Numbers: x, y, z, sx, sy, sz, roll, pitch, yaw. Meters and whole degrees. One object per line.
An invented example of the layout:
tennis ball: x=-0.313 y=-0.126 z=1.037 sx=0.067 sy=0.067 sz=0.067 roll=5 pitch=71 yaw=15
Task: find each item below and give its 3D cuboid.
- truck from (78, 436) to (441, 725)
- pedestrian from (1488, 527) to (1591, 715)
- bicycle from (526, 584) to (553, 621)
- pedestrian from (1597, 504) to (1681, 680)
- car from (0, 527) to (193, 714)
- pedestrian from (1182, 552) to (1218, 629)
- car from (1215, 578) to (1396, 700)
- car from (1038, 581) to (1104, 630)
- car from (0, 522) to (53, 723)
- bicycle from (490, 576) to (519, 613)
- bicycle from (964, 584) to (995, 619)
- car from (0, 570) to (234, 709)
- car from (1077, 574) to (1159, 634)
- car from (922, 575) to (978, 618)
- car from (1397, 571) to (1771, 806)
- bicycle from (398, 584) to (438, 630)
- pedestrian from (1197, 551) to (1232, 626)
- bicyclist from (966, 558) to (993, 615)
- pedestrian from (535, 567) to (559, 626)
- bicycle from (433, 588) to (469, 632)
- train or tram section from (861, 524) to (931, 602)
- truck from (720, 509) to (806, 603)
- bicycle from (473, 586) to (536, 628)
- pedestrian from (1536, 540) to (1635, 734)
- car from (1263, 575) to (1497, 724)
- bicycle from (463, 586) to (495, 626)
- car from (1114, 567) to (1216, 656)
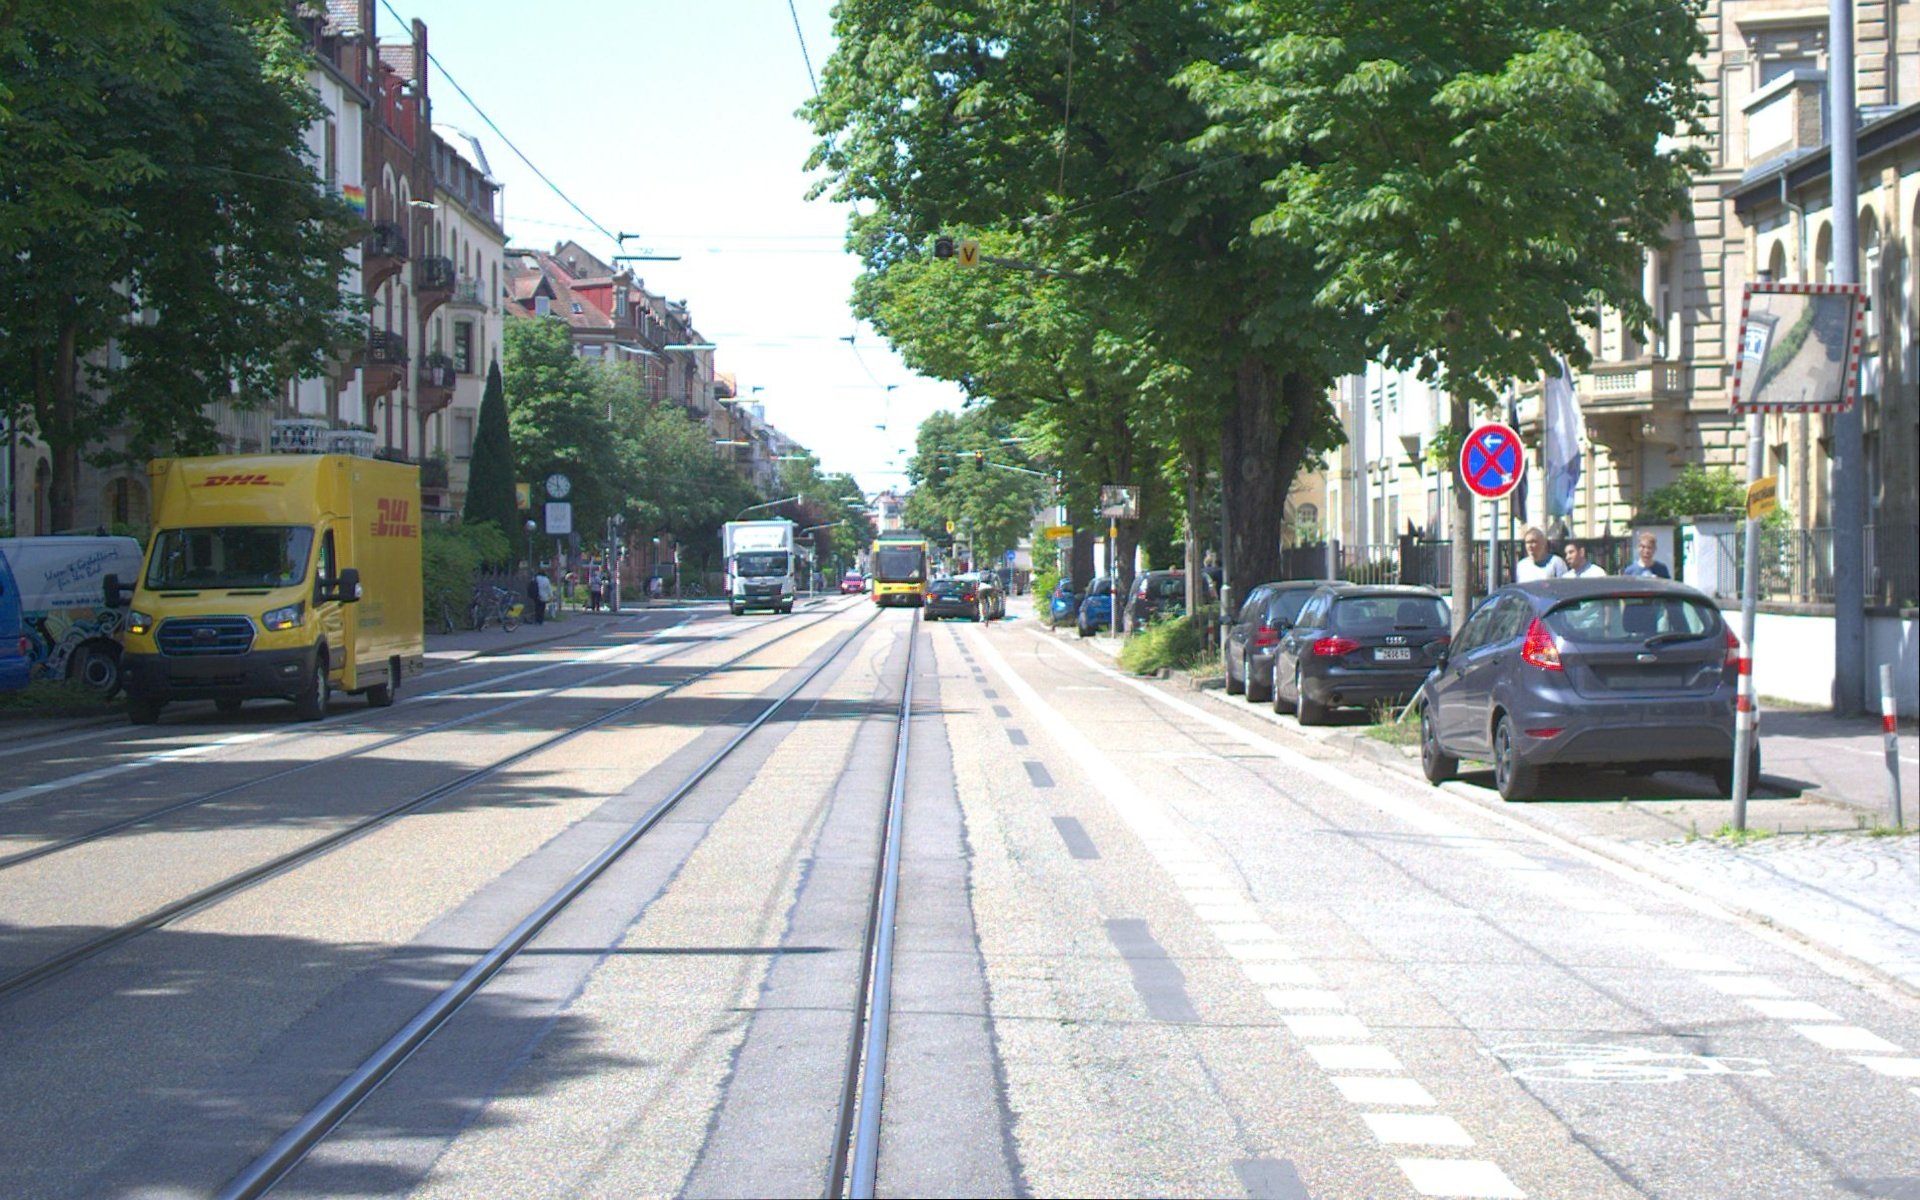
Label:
truck: x=-7.567 y=-0.245 z=38.070 sx=2.360 sy=2.843 sz=7.378 roll=-1 pitch=1 yaw=1
pedestrian: x=5.778 y=0.204 z=34.292 sx=0.575 sy=1.853 sz=0.811 roll=-1 pitch=0 yaw=-36
bicycle: x=-11.953 y=0.063 z=97.713 sx=0.543 sy=0.966 sz=1.781 roll=1 pitch=2 yaw=0
pedestrian: x=6.775 y=-0.078 z=34.332 sx=0.476 sy=1.731 sz=0.620 roll=-1 pitch=0 yaw=-36
car: x=-11.370 y=0.255 z=39.045 sx=4.749 sy=2.055 sz=2.026 roll=-2 pitch=1 yaw=-39
pedestrian: x=5.797 y=-0.234 z=83.033 sx=0.808 sy=1.853 sz=0.576 roll=0 pitch=-1 yaw=-2
car: x=4.241 y=0.455 z=42.706 sx=1.710 sy=1.418 sz=4.244 roll=-1 pitch=0 yaw=-1
car: x=3.294 y=0.166 z=102.472 sx=1.710 sy=1.418 sz=4.310 roll=-1 pitch=0 yaw=-1
car: x=-11.271 y=0.282 z=32.831 sx=1.846 sy=1.949 sz=4.719 roll=-1 pitch=1 yaw=44
bicycle: x=-12.342 y=-0.150 z=93.114 sx=0.543 sy=0.966 sz=1.781 roll=1 pitch=0 yaw=0
bicycle: x=0.562 y=0.054 z=99.442 sx=0.639 sy=0.966 sz=1.780 roll=1 pitch=-1 yaw=9
car: x=-11.168 y=0.479 z=42.616 sx=1.746 sy=1.595 sz=3.909 roll=-1 pitch=1 yaw=44
car: x=3.840 y=0.090 z=84.082 sx=1.710 sy=1.418 sz=4.310 roll=-1 pitch=0 yaw=-1
car: x=-0.329 y=-0.110 z=110.137 sx=1.781 sy=1.341 sz=3.416 roll=0 pitch=1 yaw=0
car: x=4.239 y=0.561 z=23.901 sx=1.639 sy=1.480 sz=3.873 roll=-1 pitch=0 yaw=-4
bicycle: x=-11.917 y=0.166 z=75.671 sx=0.543 sy=0.966 sz=1.990 roll=1 pitch=-1 yaw=0
pedestrian: x=6.276 y=-0.280 z=84.806 sx=0.808 sy=1.853 sz=0.623 roll=0 pitch=-1 yaw=-2
bicyclist: x=0.568 y=-0.378 z=99.500 sx=0.622 sy=1.610 sz=0.864 roll=1 pitch=-1 yaw=9
pedestrian: x=-11.323 y=-0.096 z=94.291 sx=0.572 sy=1.610 sz=0.816 roll=0 pitch=0 yaw=0
bicycle: x=-11.967 y=0.232 z=80.841 sx=0.543 sy=0.966 sz=1.990 roll=1 pitch=1 yaw=0
train or tram section: x=-2.895 y=-1.708 z=158.546 sx=3.035 sy=3.427 sz=11.970 roll=0 pitch=1 yaw=0
truck: x=-7.673 y=-1.739 z=134.891 sx=2.939 sy=3.538 sz=8.453 roll=0 pitch=1 yaw=-1
bicycle: x=-11.068 y=0.178 z=83.619 sx=0.544 sy=0.966 sz=1.778 roll=1 pitch=-1 yaw=29
pedestrian: x=6.086 y=0.352 z=33.448 sx=0.575 sy=1.853 sz=0.726 roll=-1 pitch=0 yaw=-36
car: x=4.352 y=0.483 z=36.264 sx=1.876 sy=1.450 sz=4.528 roll=-1 pitch=0 yaw=0
bicycle: x=-12.177 y=0.150 z=87.011 sx=0.543 sy=0.966 sz=1.781 roll=1 pitch=1 yaw=0
car: x=3.824 y=0.204 z=64.687 sx=1.592 sy=1.611 sz=3.908 roll=-1 pitch=0 yaw=-1
